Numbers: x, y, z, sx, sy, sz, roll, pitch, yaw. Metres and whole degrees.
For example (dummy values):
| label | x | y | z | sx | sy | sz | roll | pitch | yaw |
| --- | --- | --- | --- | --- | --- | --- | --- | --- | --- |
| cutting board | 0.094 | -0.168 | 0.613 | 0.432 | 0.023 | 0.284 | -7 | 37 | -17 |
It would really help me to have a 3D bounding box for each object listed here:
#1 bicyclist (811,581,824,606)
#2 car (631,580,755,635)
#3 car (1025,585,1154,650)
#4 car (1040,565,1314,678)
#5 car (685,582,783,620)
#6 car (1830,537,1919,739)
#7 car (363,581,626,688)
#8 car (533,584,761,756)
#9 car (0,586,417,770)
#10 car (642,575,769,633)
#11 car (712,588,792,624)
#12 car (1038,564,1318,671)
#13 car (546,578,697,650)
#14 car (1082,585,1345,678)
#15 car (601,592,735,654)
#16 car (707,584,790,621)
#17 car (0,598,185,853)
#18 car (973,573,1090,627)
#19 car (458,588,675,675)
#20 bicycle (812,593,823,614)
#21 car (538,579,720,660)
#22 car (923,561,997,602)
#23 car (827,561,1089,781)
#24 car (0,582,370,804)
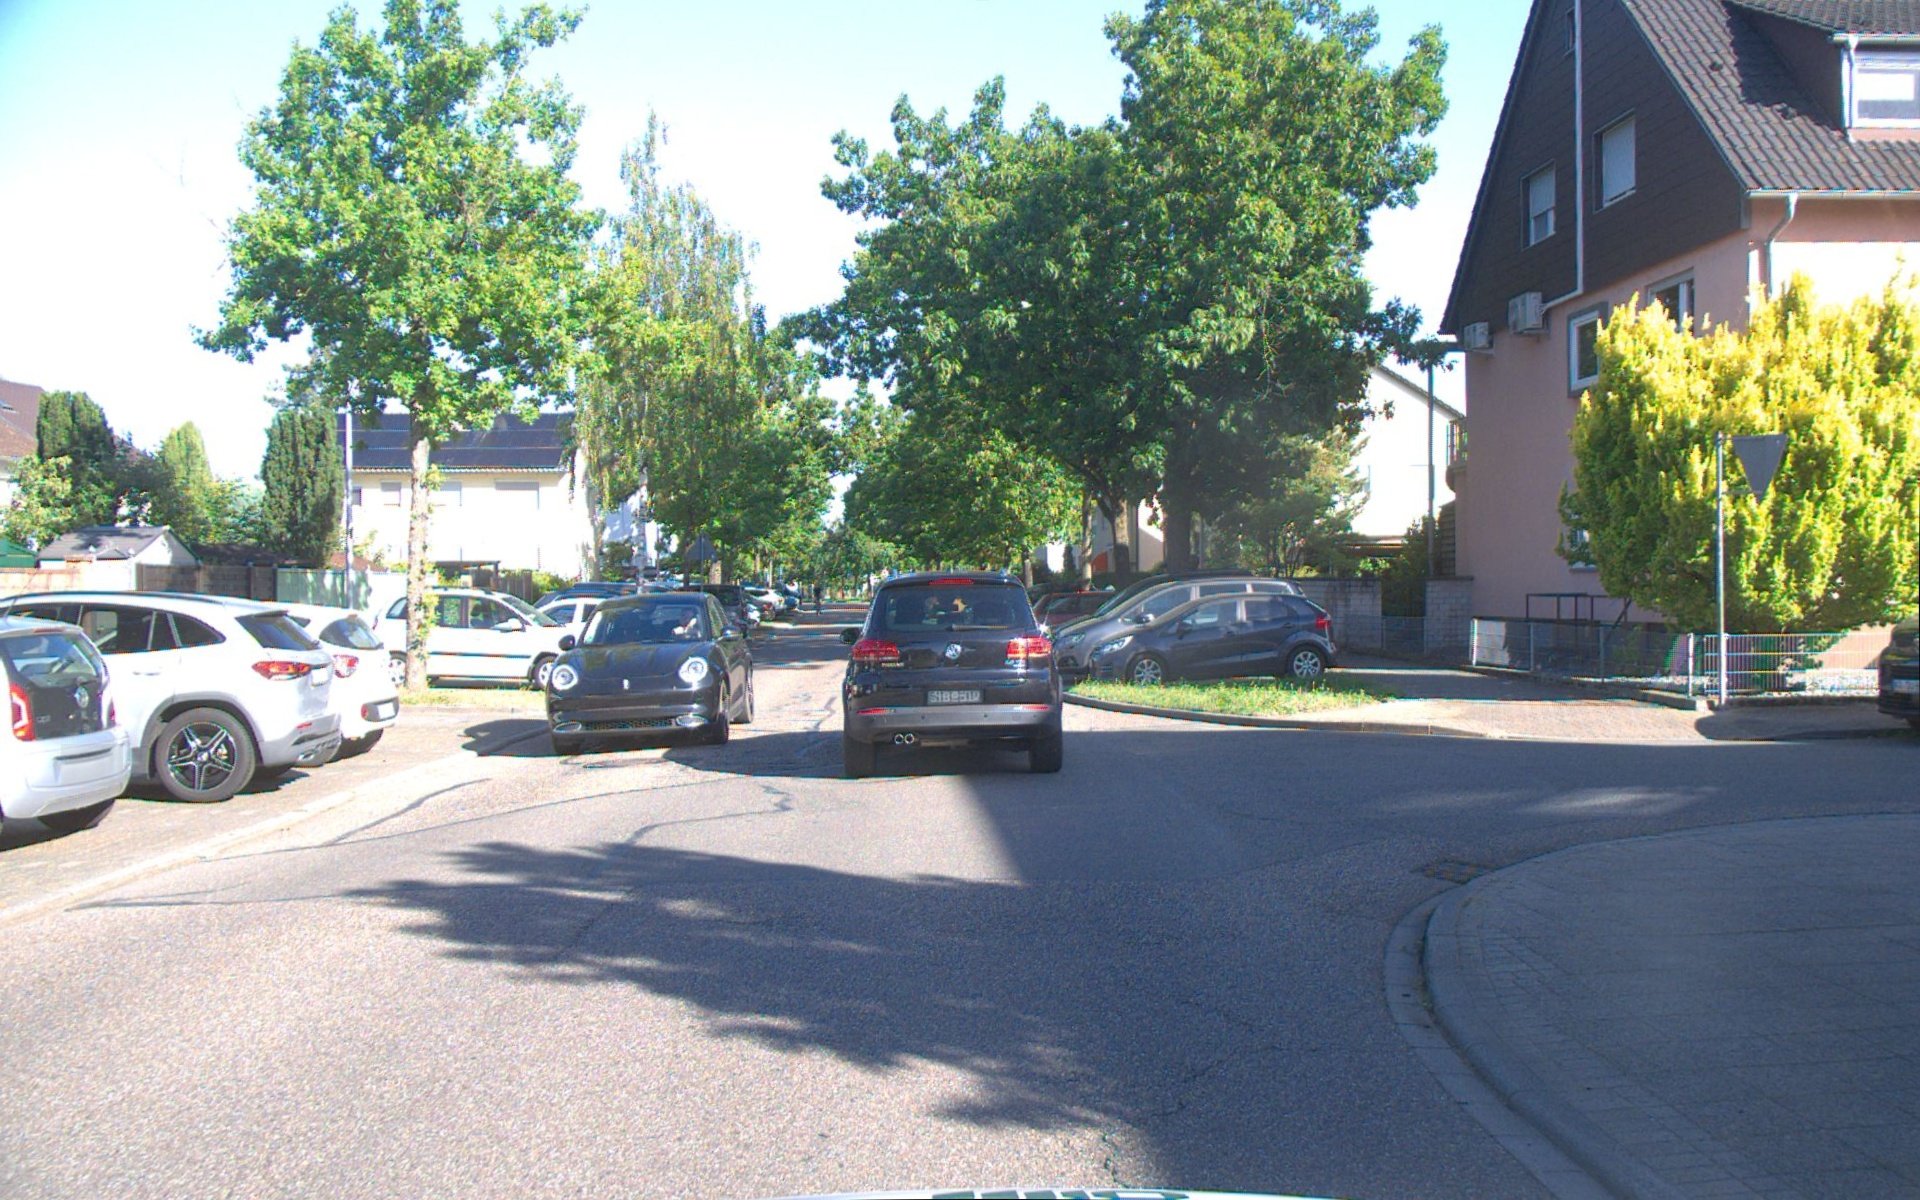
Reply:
| label | x | y | z | sx | sy | sz | roll | pitch | yaw |
| --- | --- | --- | --- | --- | --- | --- | --- | --- | --- |
| bicyclist | -8.241 | -0.374 | 95.506 | 0.687 | 1.369 | 0.506 | -1 | -2 | -7 |
| car | -8.894 | 0.258 | 55.312 | 3.907 | 1.750 | 1.819 | -1 | -1 | -3 |
| car | 3.198 | 0.427 | 41.022 | 2.987 | 1.534 | 1.244 | -1 | 0 | -9 |
| car | 3.768 | 0.359 | 29.188 | 4.540 | 1.841 | 1.823 | -1 | 0 | -3 |
| car | -9.623 | 0.060 | 70.612 | 3.906 | 1.525 | 1.999 | -1 | -2 | -2 |
| car | 11.473 | 0.318 | 15.952 | 5.138 | 1.880 | 2.069 | -1 | -1 | -5 |
| car | -7.836 | 0.560 | 28.151 | 3.906 | 1.699 | 2.000 | -1 | 0 | -1 |
| car | -3.269 | 0.664 | 18.012 | 1.872 | 1.582 | 3.998 | -2 | 0 | -3 |
| car | -7.187 | 0.690 | 15.785 | 3.482 | 1.585 | 1.850 | -1 | 0 | -7 |
| car | -8.851 | 0.139 | 57.789 | 4.306 | 1.973 | 1.576 | 0 | -1 | -7 |
| car | -10.459 | 0.268 | 83.117 | 3.915 | 1.713 | 1.995 | -1 | 0 | -10 |
| car | 4.180 | 0.312 | 32.247 | 5.154 | 1.979 | 1.999 | 0 | 0 | -3 |
| car | -9.305 | 0.367 | 45.653 | 3.911 | 1.868 | 1.635 | -1 | 0 | -7 |
| car | 4.032 | 0.482 | 26.700 | 3.907 | 1.392 | 1.846 | -1 | 0 | -3 |
| car | -7.524 | 0.567 | 42.865 | 3.306 | 1.516 | 1.641 | -1 | 0 | -6 |
| car | -10.345 | 0.134 | 80.720 | 3.915 | 1.713 | 1.918 | -1 | 0 | -10 |
| car | -7.187 | 0.776 | 10.688 | 3.478 | 1.503 | 1.807 | -1 | 0 | -3 |
| car | 2.454 | -0.017 | 57.478 | 3.906 | 1.806 | 1.789 | -1 | 0 | -2 |
| car | -7.893 | 0.611 | 33.492 | 3.906 | 1.668 | 2.000 | -1 | 0 | -1 |
| bicycle | -8.236 | 0.193 | 95.525 | 0.625 | 1.183 | 1.738 | -1 | -2 | -6 |
| car | -7.596 | 0.430 | 38.267 | 3.910 | 1.762 | 1.997 | -1 | 0 | -6 |
| car | -0.018 | -0.982 | 88.943 | 3.906 | 2.049 | 1.999 | -1 | -2 | -2 |
| car | -0.187 | 0.531 | 15.025 | 1.892 | 1.683 | 4.508 | 1 | 0 | -6 |
| car | -6.804 | 0.698 | 13.385 | 3.483 | 1.641 | 1.849 | -1 | 0 | -8 |
